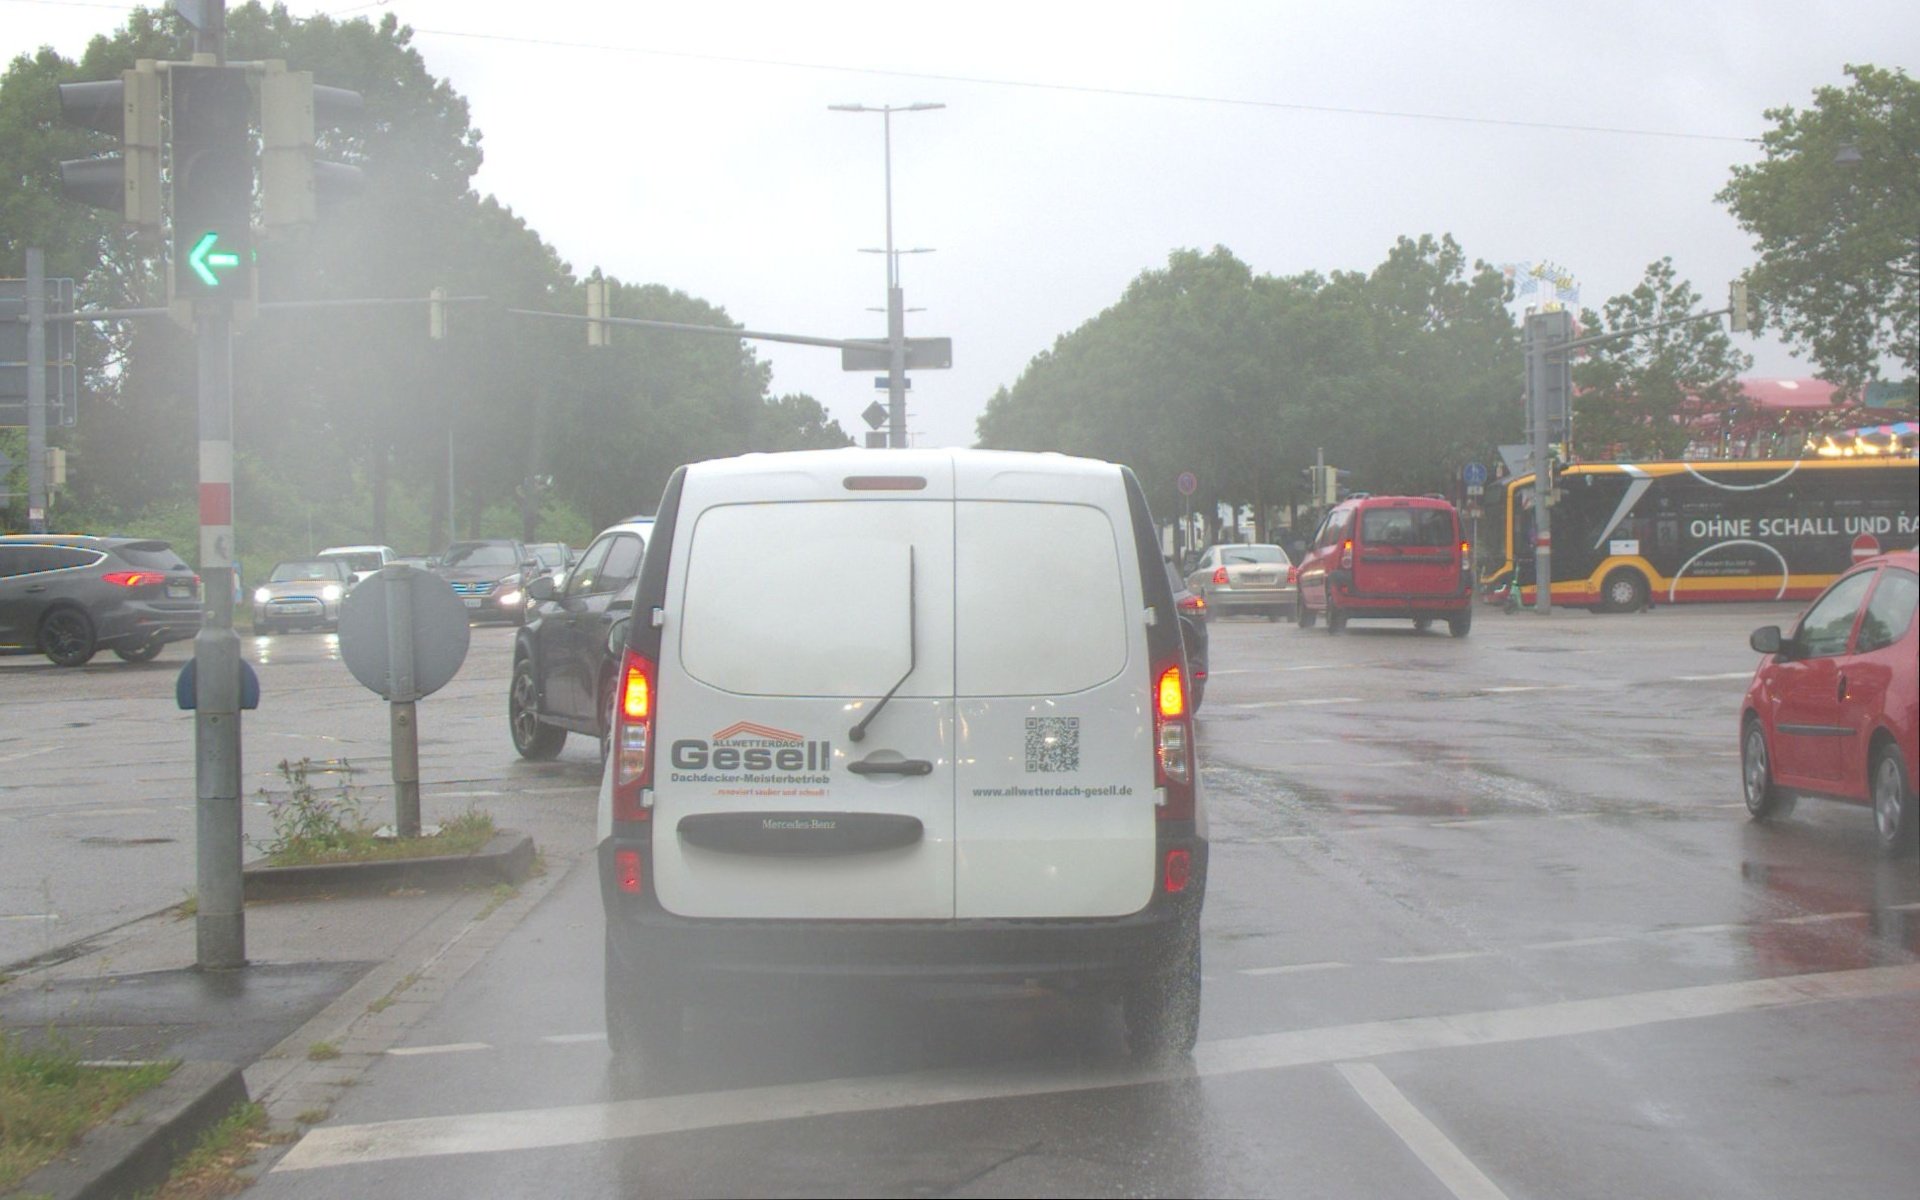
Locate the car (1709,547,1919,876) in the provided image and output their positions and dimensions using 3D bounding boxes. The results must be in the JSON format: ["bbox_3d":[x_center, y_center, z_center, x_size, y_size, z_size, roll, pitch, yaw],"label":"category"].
[{"bbox_3d":[5.085,0.487,17.455,1.678,1.486,3.622,0,1,-1],"label":"car"}]

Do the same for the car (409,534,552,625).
[{"bbox_3d":[-9.219,-0.420,66.406,2.022,1.651,4.061,-1,1,2],"label":"car"}]

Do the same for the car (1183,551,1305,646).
[{"bbox_3d":[5.071,-0.057,61.850,1.842,1.612,4.000,1,1,0],"label":"car"}]

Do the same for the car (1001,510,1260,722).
[{"bbox_3d":[1.350,0.094,28.707,1.842,1.612,4.000,1,1,-1],"label":"car"}]

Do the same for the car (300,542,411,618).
[{"bbox_3d":[-12.422,-0.441,70.883,1.827,1.477,4.001,-1,1,-4],"label":"car"}]

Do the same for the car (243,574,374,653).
[{"bbox_3d":[-12.211,0.228,64.628,1.892,1.344,4.001,-1,2,-3],"label":"car"}]

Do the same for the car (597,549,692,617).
[{"bbox_3d":[-6.674,-0.377,72.444,1.826,1.353,4.001,-1,1,-7],"label":"car"}]

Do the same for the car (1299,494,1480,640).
[{"bbox_3d":[5.129,-0.411,41.396,1.632,1.650,3.485,1,1,-1],"label":"car"}]

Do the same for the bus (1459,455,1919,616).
[{"bbox_3d":[17.203,-1.417,74.469,12.248,3.257,3.275,-1,1,-1],"label":"bus"}]

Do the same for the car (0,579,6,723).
[{"bbox_3d":[-10.503,0.479,31.299,3.453,1.301,1.580,0,2,32],"label":"car"}]

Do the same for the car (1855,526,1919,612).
[{"bbox_3d":[19.943,-0.651,68.315,4.329,1.645,1.933,-2,1,-38],"label":"car"}]

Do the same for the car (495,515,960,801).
[{"bbox_3d":[-1.574,0.284,21.698,1.917,1.603,4.001,-1,1,-19],"label":"car"}]

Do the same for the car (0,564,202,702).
[{"bbox_3d":[-10.397,0.365,38.549,3.346,1.468,1.568,0,1,11],"label":"car"}]

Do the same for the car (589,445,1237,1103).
[{"bbox_3d":[-0.282,0.433,11.309,1.755,1.771,4.001,0,1,-5],"label":"car"}]
